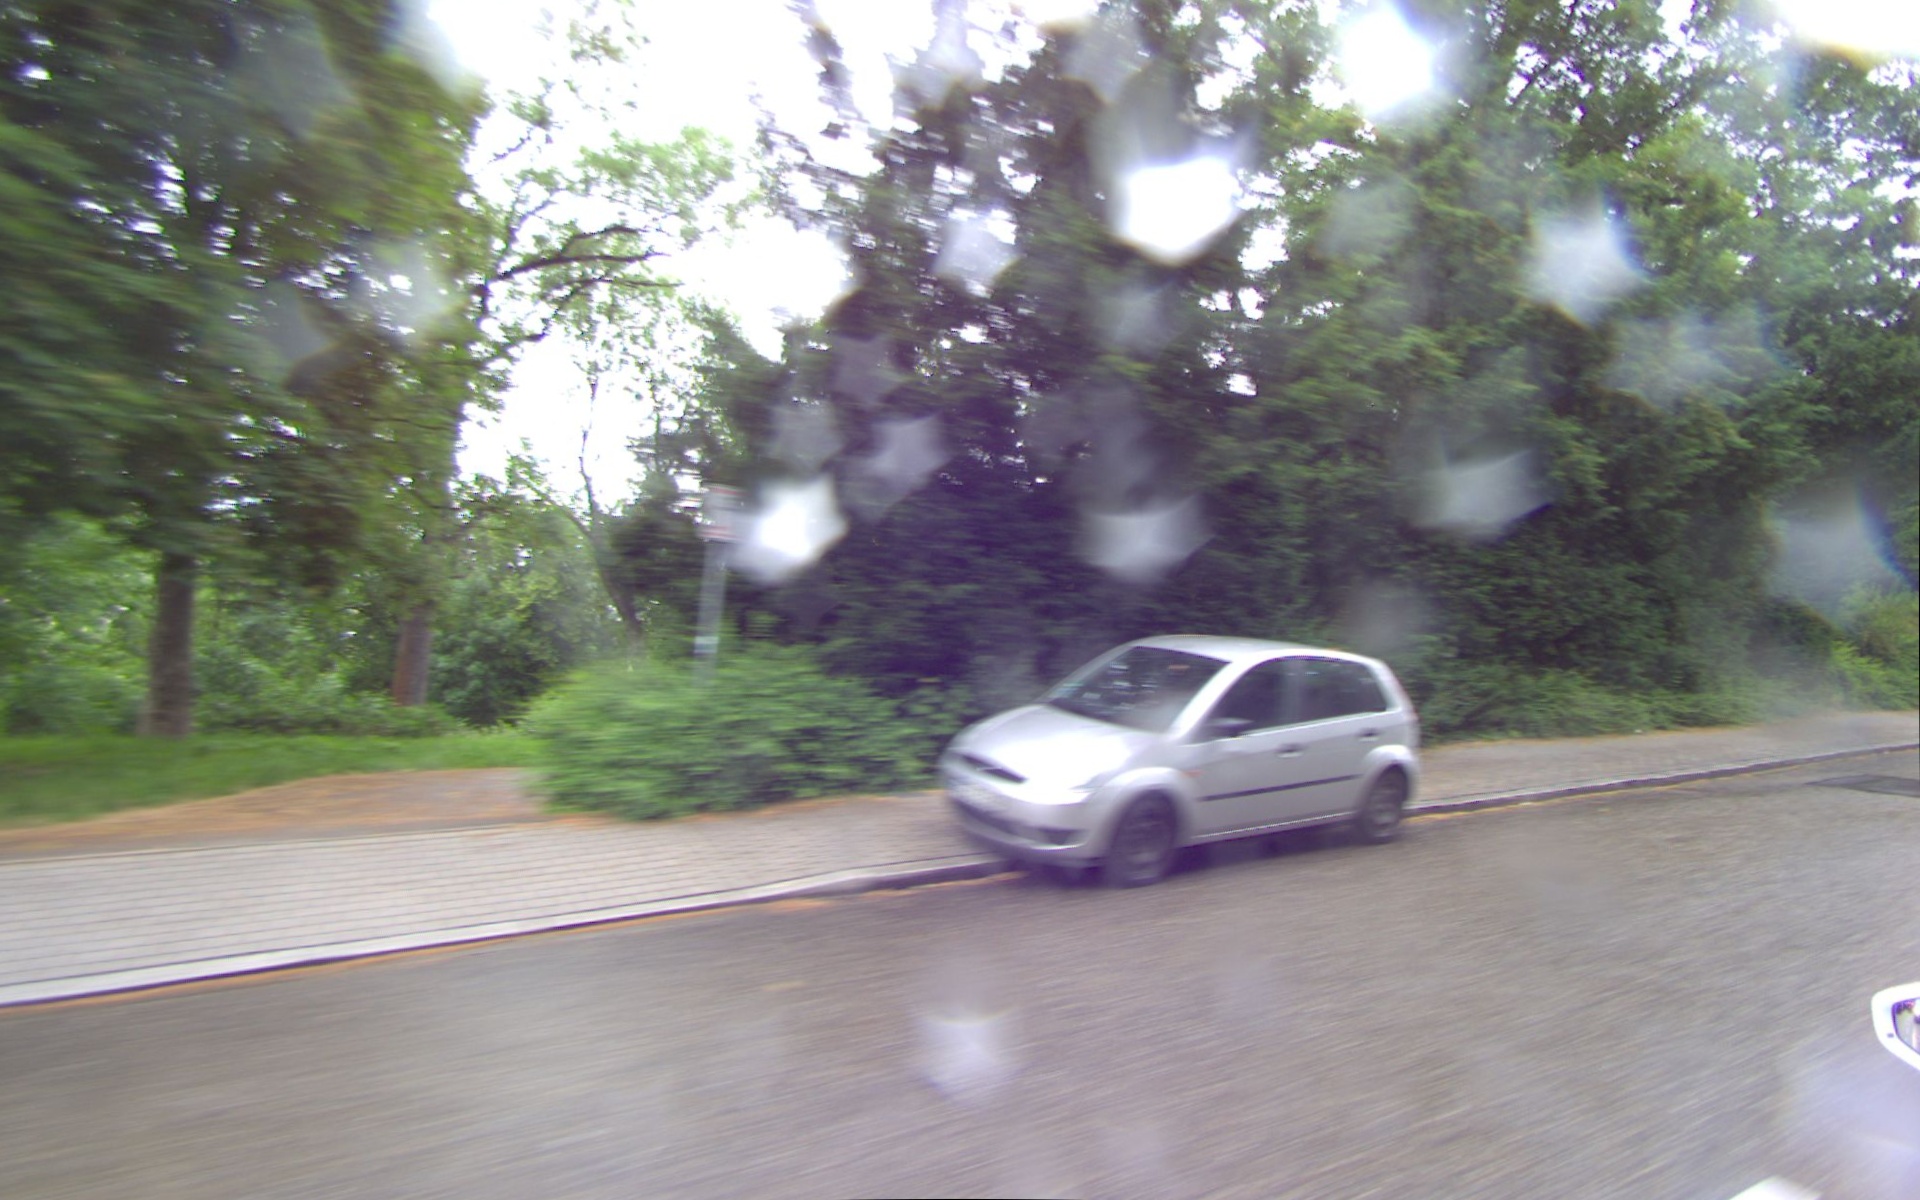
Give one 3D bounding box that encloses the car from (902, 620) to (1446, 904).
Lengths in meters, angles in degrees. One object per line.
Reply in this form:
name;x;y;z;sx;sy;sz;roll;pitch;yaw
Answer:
car;1.673;0.969;7.382;3.886;1.519;1.616;2;1;-33
